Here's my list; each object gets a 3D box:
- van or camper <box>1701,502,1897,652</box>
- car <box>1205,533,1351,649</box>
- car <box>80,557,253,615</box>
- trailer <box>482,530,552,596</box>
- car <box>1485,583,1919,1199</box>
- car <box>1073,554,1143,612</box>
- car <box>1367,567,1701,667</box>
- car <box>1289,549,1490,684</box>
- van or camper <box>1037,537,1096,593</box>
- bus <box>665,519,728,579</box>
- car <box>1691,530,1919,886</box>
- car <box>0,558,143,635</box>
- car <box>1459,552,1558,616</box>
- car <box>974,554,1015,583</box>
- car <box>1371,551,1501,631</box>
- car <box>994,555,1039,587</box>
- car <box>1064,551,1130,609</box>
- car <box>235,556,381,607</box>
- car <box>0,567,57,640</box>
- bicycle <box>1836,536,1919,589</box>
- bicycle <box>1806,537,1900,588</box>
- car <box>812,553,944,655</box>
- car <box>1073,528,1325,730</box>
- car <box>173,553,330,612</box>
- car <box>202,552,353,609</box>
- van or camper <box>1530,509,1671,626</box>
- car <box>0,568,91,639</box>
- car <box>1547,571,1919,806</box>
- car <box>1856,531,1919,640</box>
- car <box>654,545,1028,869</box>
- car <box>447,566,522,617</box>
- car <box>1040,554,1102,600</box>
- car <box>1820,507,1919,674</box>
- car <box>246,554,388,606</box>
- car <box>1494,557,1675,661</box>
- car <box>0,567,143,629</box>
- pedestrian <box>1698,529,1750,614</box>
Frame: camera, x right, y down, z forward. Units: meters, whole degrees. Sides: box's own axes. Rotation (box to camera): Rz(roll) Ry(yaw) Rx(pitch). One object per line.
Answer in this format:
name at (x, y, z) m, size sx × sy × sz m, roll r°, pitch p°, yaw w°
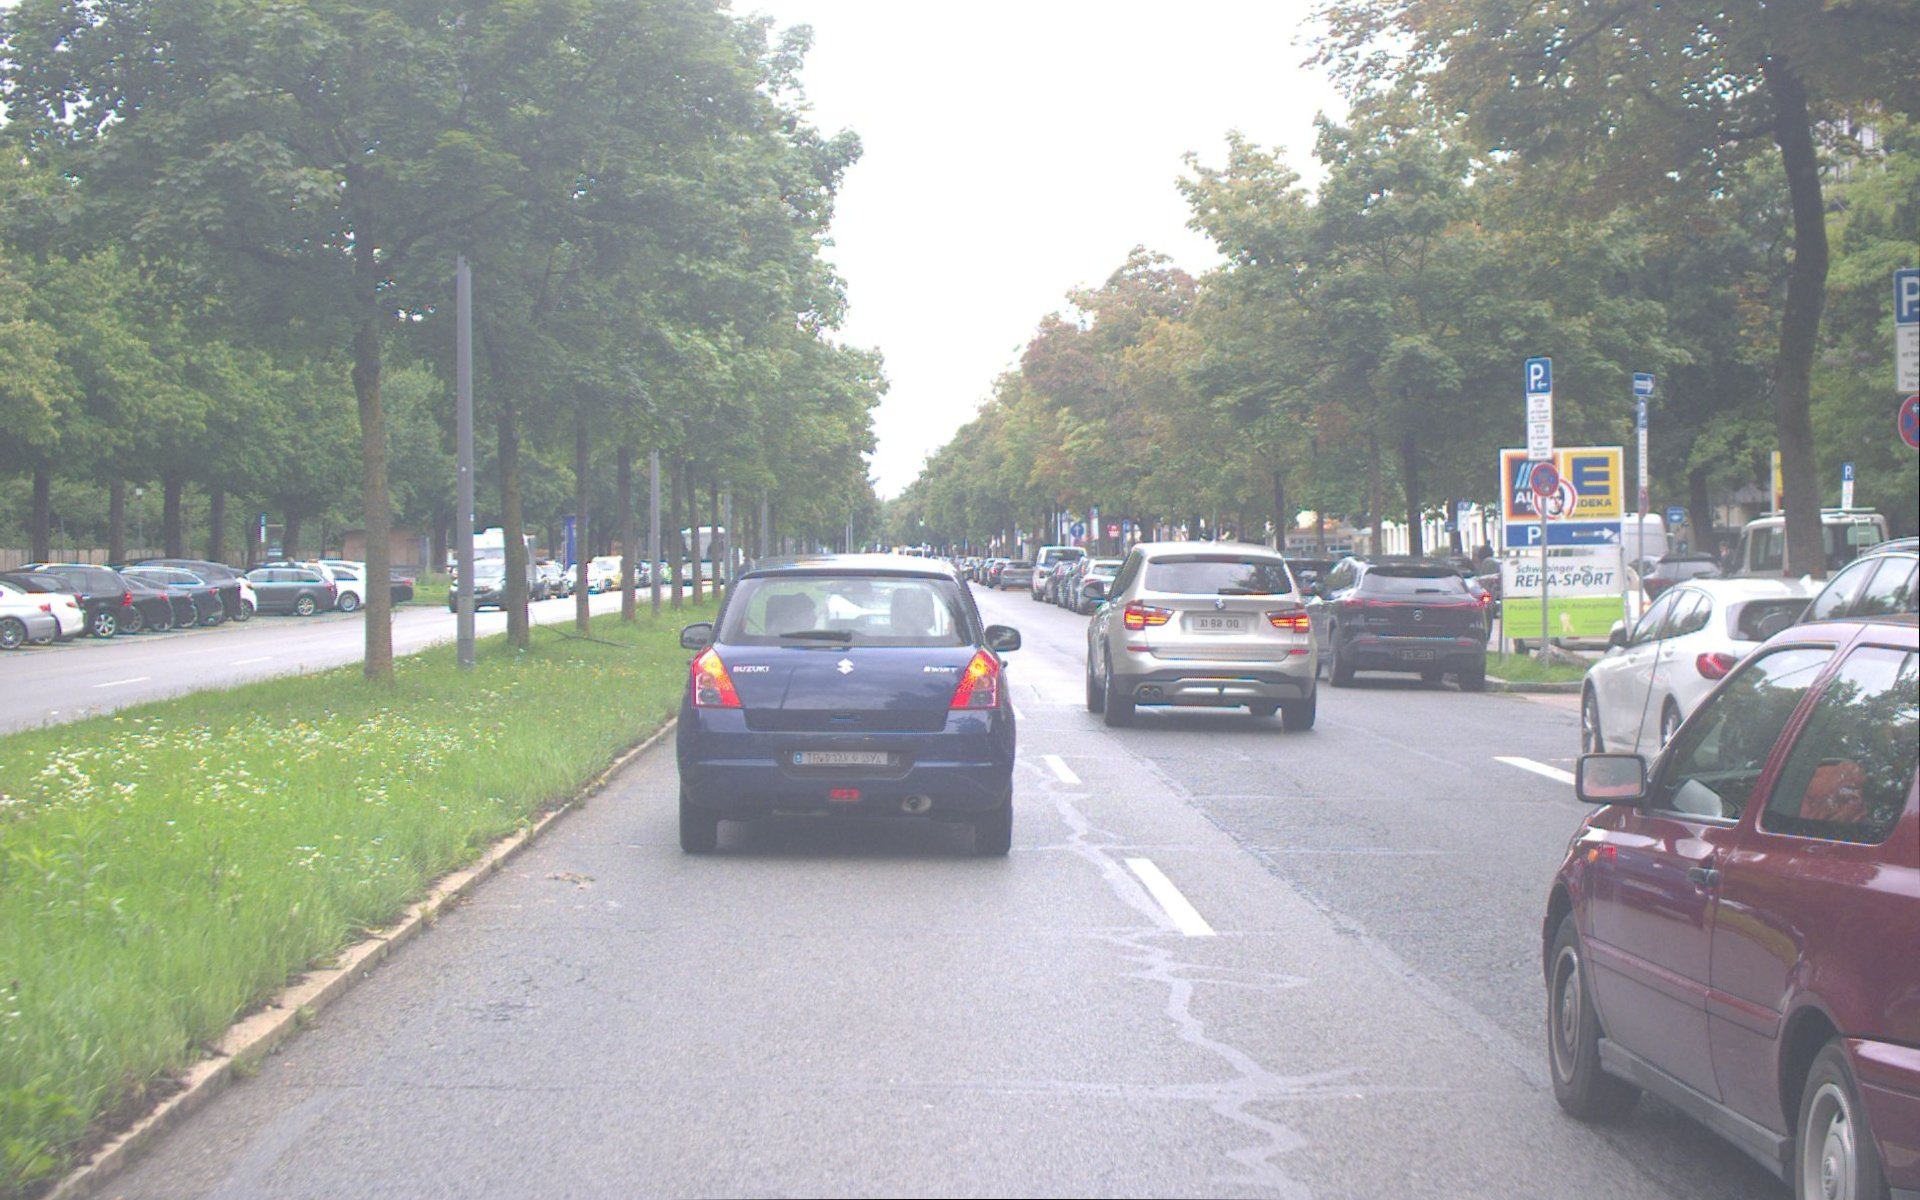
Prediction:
van or camper at (15.033, -0.438, 61.926) m, size 1.993 × 2.549 × 5.957 m, roll 0°, pitch 1°, yaw -1°
car at (4.841, -0.167, 52.915) m, size 1.761 × 1.695 × 4.820 m, roll 0°, pitch 1°, yaw 0°
car at (-21.247, -0.394, 92.071) m, size 4.094 × 1.496 × 1.919 m, roll -1°, pitch 1°, yaw -31°
trailer at (-17.442, -1.483, 135.618) m, size 2.106 × 2.532 × 5.577 m, roll 0°, pitch 1°, yaw -1°
car at (2.377, 0.703, 7.922) m, size 1.622 × 1.449 × 3.950 m, roll 0°, pitch 1°, yaw -2°
car at (4.034, -0.494, 94.480) m, size 1.684 × 1.520 × 4.456 m, roll 1°, pitch 1°, yaw 0°
car at (8.777, 0.229, 52.801) m, size 4.833 × 1.449 × 1.686 m, roll 1°, pitch 1°, yaw 38°
car at (5.264, 0.164, 42.641) m, size 1.761 × 1.584 × 4.453 m, roll 0°, pitch 1°, yaw -2°
van or camper at (3.763, -1.249, 122.040) m, size 1.944 × 1.968 × 4.306 m, roll 0°, pitch 1°, yaw 0°
bus at (-15.348, -2.980, 200.953) m, size 2.738 × 3.366 × 12.013 m, roll -2°, pitch 1°, yaw 0°
car at (5.326, 0.476, 18.233) m, size 1.786 × 1.669 × 4.596 m, roll 0°, pitch 1°, yaw -2°
car at (-19.780, -0.094, 73.482) m, size 4.096 × 1.592 × 1.919 m, roll -1°, pitch 1°, yaw -40°
car at (14.365, -0.442, 90.237) m, size 1.684 × 1.627 × 4.499 m, roll 0°, pitch 1°, yaw -3°
car at (1.759, -1.611, 174.248) m, size 1.850 × 1.442 × 4.098 m, roll 0°, pitch 1°, yaw -3°
car at (9.005, -0.196, 65.268) m, size 1.747 × 1.474 × 4.009 m, roll 0°, pitch 1°, yaw -2°
car at (2.602, -1.370, 160.410) m, size 1.850 × 1.442 × 4.098 m, roll 0°, pitch 1°, yaw -3°
car at (3.975, -0.603, 100.186) m, size 1.684 × 1.620 × 4.306 m, roll 1°, pitch 1°, yaw 0°
car at (-20.566, -0.594, 108.490) m, size 4.095 × 1.579 × 1.919 m, roll -1°, pitch 1°, yaw -34°
car at (-19.267, 0.072, 64.732) m, size 3.987 × 1.349 × 1.850 m, roll -1°, pitch 1°, yaw -35°
bicycle at (26.443, -1.068, 98.275) m, size 2.609 × 1.503 × 0.798 m, roll 0°, pitch 1°, yaw -7°
bicycle at (26.571, -1.120, 102.291) m, size 2.609 × 1.503 × 0.798 m, roll 0°, pitch 1°, yaw -7°
car at (-1.246, 0.029, 50.642) m, size 1.850 × 1.442 × 4.098 m, roll 0°, pitch 1°, yaw -3°
car at (2.123, 0.222, 31.565) m, size 1.850 × 1.737 × 4.098 m, roll 0°, pitch 1°, yaw -3°
car at (-20.905, -0.542, 101.491) m, size 4.095 × 1.689 × 1.919 m, roll -1°, pitch 1°, yaw -34°
car at (-20.757, -0.596, 104.600) m, size 4.095 × 1.689 × 1.919 m, roll -1°, pitch 1°, yaw -34°
van or camper at (14.587, -0.756, 78.625) m, size 2.024 × 2.549 × 5.957 m, roll 0°, pitch 1°, yaw -1°
car at (-19.424, 0.064, 67.950) m, size 4.031 × 1.377 × 1.674 m, roll -1°, pitch 1°, yaw -36°
car at (5.298, 0.531, 23.558) m, size 1.653 × 1.429 × 4.483 m, roll 0°, pitch 1°, yaw -2°
car at (15.537, -0.248, 53.715) m, size 1.993 × 1.645 × 4.000 m, roll 0°, pitch 1°, yaw -1°
car at (-0.660, 0.484, 18.463) m, size 1.789 × 1.550 × 4.001 m, roll 0°, pitch 1°, yaw -3°
car at (-14.719, -0.276, 106.663) m, size 1.913 × 1.537 × 4.188 m, roll 0°, pitch 1°, yaw -3°
car at (3.712, -0.790, 115.682) m, size 1.684 × 1.548 × 4.307 m, roll 0°, pitch 1°, yaw -4°
car at (10.751, -0.104, 35.366) m, size 1.971 × 1.619 × 4.836 m, roll 1°, pitch 1°, yaw 37°
car at (-20.844, -0.667, 111.511) m, size 4.095 × 1.647 × 1.919 m, roll -1°, pitch 1°, yaw -34°
car at (9.482, 0.109, 52.488) m, size 1.763 × 1.483 × 4.001 m, roll 2°, pitch 1°, yaw -4°
car at (-20.542, -0.055, 76.464) m, size 4.189 × 1.318 × 1.919 m, roll -1°, pitch 1°, yaw -34°
pedestrian at (16.791, -0.629, 75.559) m, size 0.875 × 1.845 × 0.903 m, roll 1°, pitch 1°, yaw -2°
